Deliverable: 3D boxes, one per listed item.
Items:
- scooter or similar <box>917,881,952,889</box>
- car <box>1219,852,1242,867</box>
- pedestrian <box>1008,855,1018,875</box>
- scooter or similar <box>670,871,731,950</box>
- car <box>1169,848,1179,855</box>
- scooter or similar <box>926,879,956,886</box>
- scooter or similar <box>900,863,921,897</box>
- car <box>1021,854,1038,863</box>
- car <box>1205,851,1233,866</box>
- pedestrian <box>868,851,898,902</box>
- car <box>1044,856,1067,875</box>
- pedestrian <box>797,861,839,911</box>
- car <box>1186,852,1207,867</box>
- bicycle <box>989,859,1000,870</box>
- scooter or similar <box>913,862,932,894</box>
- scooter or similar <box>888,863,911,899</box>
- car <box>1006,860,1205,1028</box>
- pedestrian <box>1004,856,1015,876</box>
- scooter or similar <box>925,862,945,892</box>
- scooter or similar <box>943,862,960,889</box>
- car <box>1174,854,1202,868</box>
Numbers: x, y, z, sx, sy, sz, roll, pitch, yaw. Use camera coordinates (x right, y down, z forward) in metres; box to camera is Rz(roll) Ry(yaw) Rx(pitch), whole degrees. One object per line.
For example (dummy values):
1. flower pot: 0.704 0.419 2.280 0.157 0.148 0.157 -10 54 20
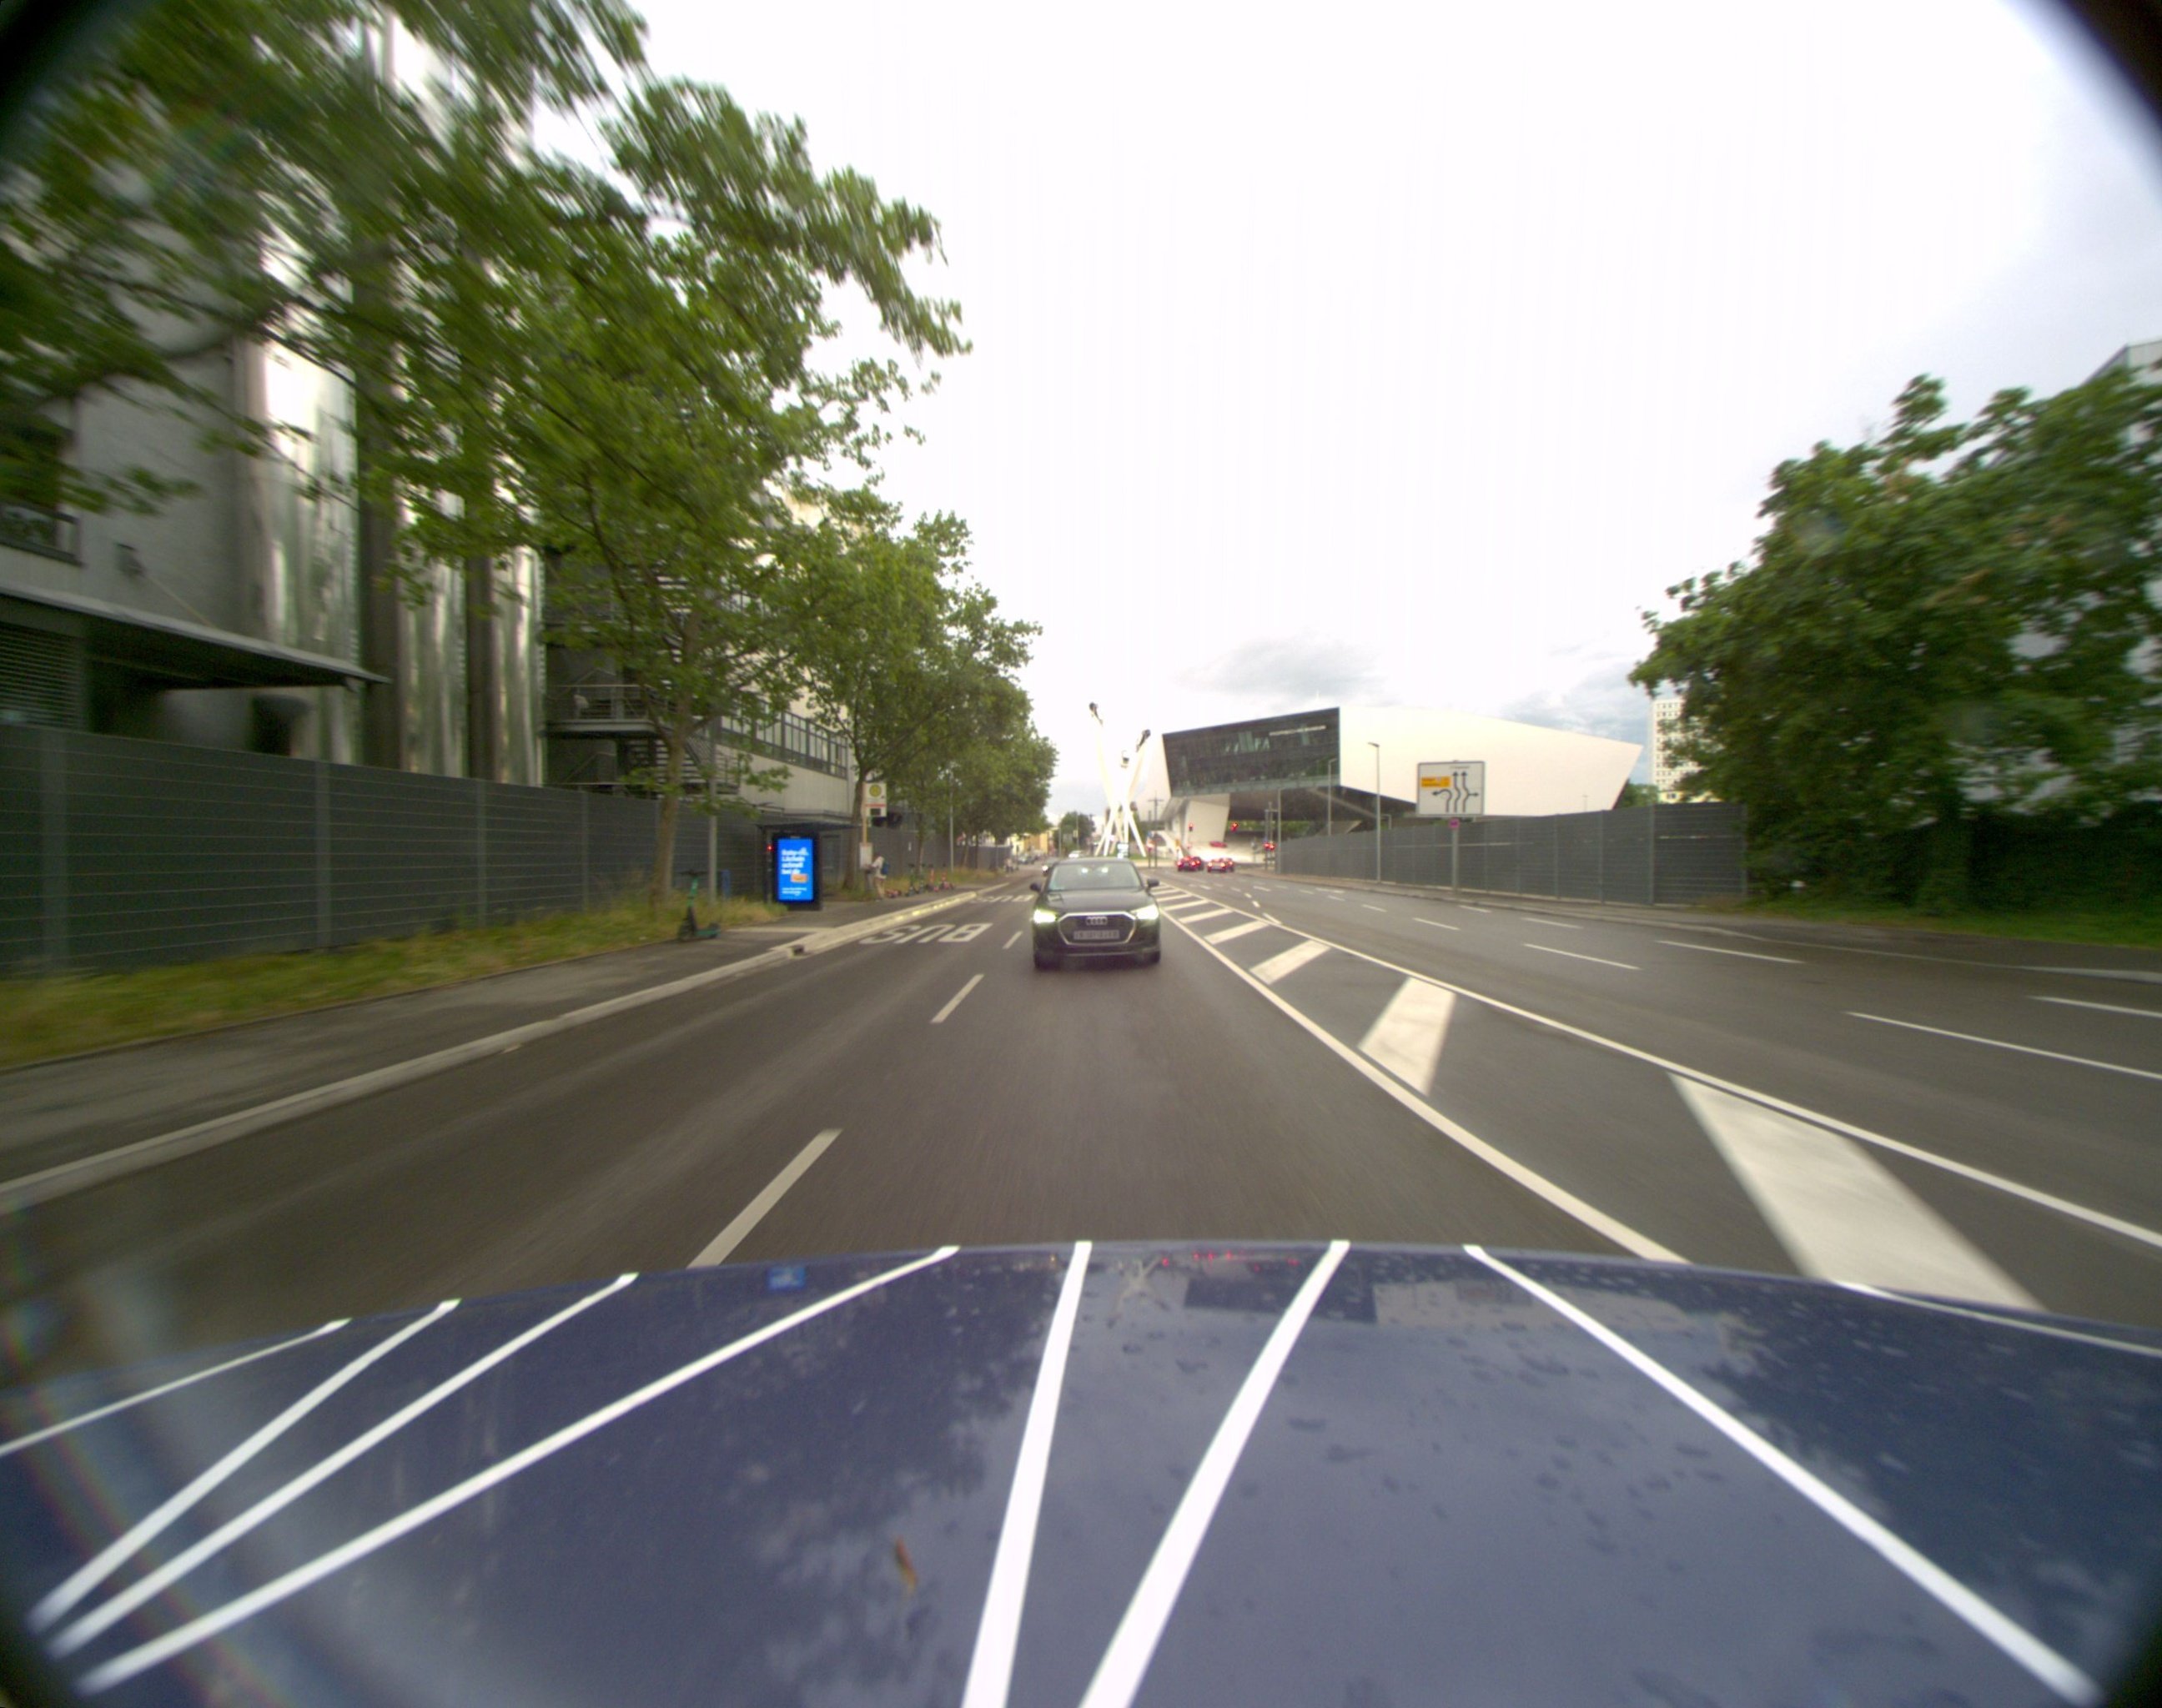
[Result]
1. scooter or similar: -6.976 1.481 36.293 1.098 0.343 1.260 0 0 24
2. car: 16.797 0.589 85.276 1.861 1.641 3.793 0 0 20
3. pedestrian: -5.767 0.901 64.706 0.723 1.657 0.833 2 1 0
4. scooter or similar: -6.727 0.965 13.480 0.329 1.301 1.246 0 1 5
5. car: 22.664 -0.592 185.621 1.951 1.610 4.073 1 0 0
6. scooter or similar: -7.163 1.447 38.831 1.184 0.309 1.200 0 0 -27
7. scooter or similar: -6.638 0.999 29.666 0.437 1.288 1.301 0 1 4
8. car: -9.403 0.813 138.950 1.878 1.510 3.855 1 0 13
9. car: 14.245 0.425 78.210 2.267 1.469 4.053 0 0 19
10. pedestrian: -6.752 0.761 25.937 0.778 1.700 0.729 0 1 0
11. car: -2.214 0.964 64.986 1.881 1.485 4.075 1 0 -2
12. pedestrian: -7.551 0.899 21.855 0.932 1.408 0.698 0 1 0
13. car: 13.162 0.656 86.553 1.878 1.641 3.857 0 0 17
14. bicycle: -7.505 0.930 66.214 0.727 0.870 1.905 -1 1 0
15. scooter or similar: -6.636 1.000 31.803 0.437 1.288 1.301 0 1 4
16. scooter or similar: -6.729 0.975 28.244 0.437 1.288 1.301 0 1 4
17. car: 0.232 0.920 10.241 1.951 1.609 5.276 -1 0 0
18. pedestrian: -5.790 0.969 61.407 0.723 1.610 0.833 2 1 0
19. scooter or similar: -6.460 0.997 33.754 0.437 1.288 1.368 0 1 8
20. scooter or similar: -6.426 1.056 37.625 0.437 1.277 1.301 0 1 8
21. car: 11.351 0.700 80.210 2.255 1.469 3.884 0 0 19
